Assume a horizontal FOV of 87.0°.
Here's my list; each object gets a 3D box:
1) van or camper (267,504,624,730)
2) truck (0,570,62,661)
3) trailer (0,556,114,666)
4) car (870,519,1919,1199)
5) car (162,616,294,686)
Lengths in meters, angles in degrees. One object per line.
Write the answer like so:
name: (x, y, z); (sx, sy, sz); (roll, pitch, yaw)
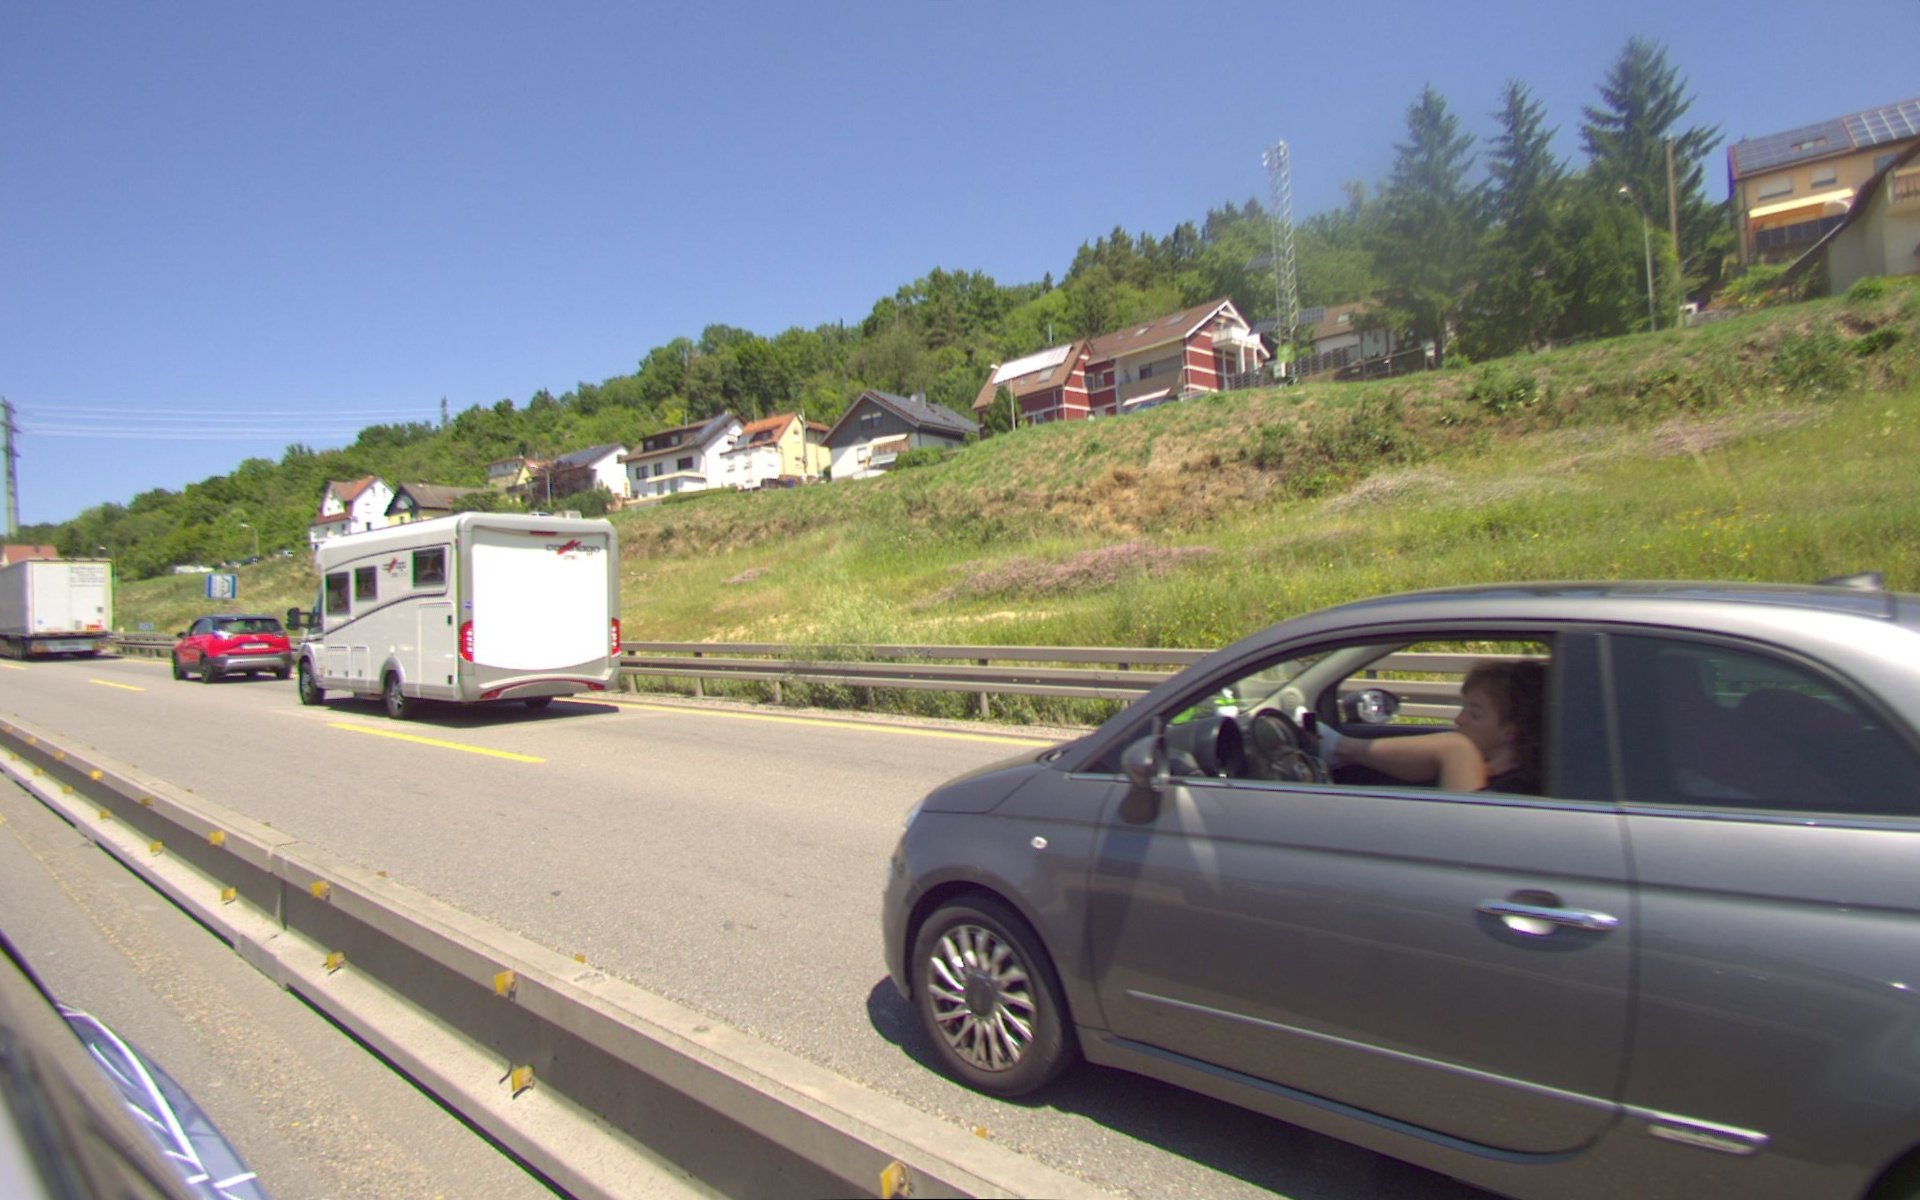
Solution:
van or camper: (-8.357, 0.291, 15.885); (7.512, 2.798, 2.310); (-2, -1, 41)
truck: (-45.191, 0.741, 48.391); (4.595, 4.155, 2.792); (-2, -1, 41)
trailer: (-39.570, 0.563, 43.489); (13.429, 4.155, 2.827); (-2, -1, 41)
car: (1.530, 0.620, 2.659); (3.377, 1.490, 1.612); (-2, 0, 41)
car: (-17.975, 1.201, 24.783); (4.262, 1.563, 1.699); (-2, -1, 41)
